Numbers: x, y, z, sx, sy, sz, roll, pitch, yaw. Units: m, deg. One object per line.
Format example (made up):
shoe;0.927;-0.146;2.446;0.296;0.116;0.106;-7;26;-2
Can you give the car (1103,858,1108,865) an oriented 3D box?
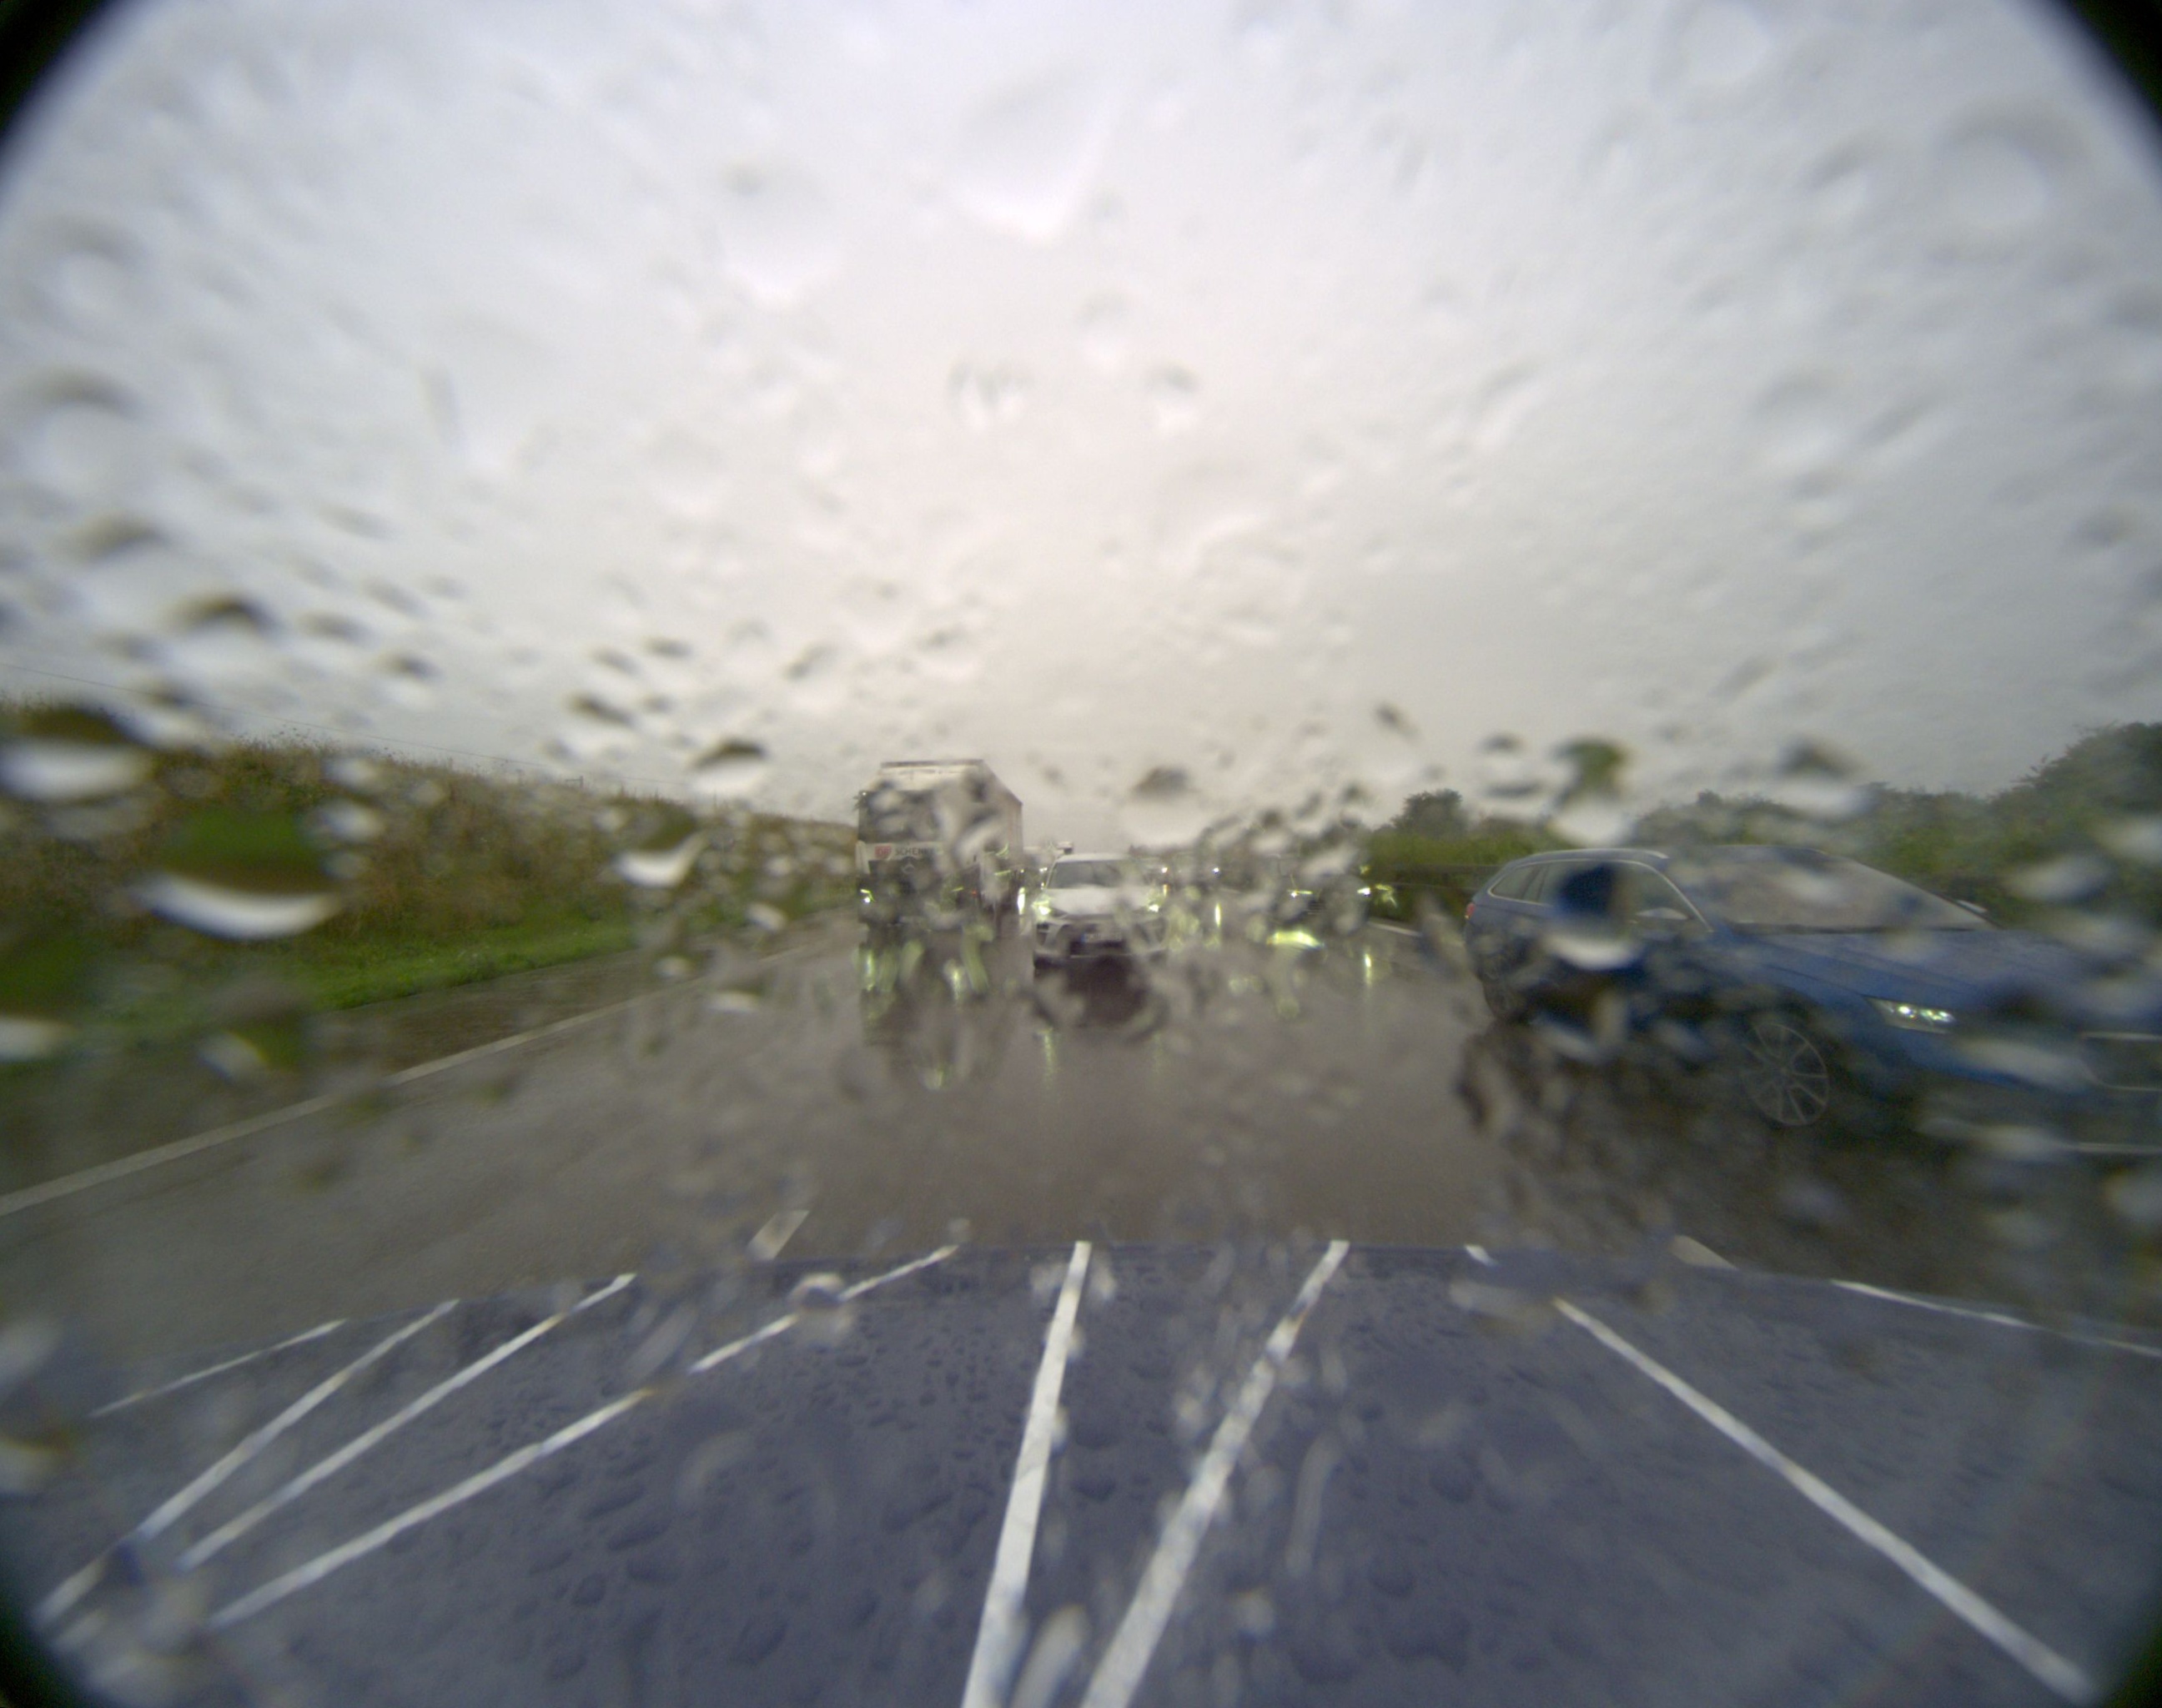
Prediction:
car;6.289;1.907;195.957;1.279;1.567;2.848;-2;0;0

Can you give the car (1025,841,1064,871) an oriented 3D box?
car;-2.573;0.120;54.115;2.260;2.002;4.269;-2;1;3

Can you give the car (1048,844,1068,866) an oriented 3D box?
car;-2.466;0.110;81.725;1.998;2.231;4.000;-2;0;0

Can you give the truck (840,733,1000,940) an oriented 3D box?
truck;-3.624;-0.388;18.364;2.633;4.229;5.042;-2;1;0

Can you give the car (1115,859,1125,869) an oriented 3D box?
car;5.996;1.523;118.213;1.458;1.540;2.804;0;2;1

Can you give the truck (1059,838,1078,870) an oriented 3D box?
truck;-1.806;0.010;111.683;2.628;4.635;4.290;-2;0;1

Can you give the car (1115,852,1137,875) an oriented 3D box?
car;4.203;0.851;71.445;1.737;2.002;4.223;-2;0;0

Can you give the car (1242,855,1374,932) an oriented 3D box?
car;4.856;0.766;16.898;1.613;1.428;4.370;-2;0;0

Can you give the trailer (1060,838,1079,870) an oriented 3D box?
trailer;-1.727;0.034;117.102;2.628;4.635;9.221;-2;0;1

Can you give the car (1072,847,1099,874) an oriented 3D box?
car;0.410;0.488;60.511;1.998;2.002;4.000;-2;0;1

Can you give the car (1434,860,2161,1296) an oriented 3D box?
car;4.263;0.825;4.978;1.791;1.467;4.511;-2;0;0

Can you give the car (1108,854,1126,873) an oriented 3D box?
car;3.967;1.006;83.134;1.737;2.002;4.223;-2;0;0

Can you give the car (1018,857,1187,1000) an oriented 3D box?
car;0.260;0.869;10.734;1.893;1.578;4.000;-2;0;0

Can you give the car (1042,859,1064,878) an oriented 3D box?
car;-2.745;1.406;76.026;1.998;1.805;4.000;-2;0;0

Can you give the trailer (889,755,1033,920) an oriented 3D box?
trailer;-3.576;-0.502;26.943;2.633;4.224;14.174;-2;1;0

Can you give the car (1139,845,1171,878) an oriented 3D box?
car;4.798;0.466;49.880;1.888;2.002;4.270;-2;0;3

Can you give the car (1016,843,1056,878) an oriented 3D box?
car;-2.744;0.377;47.465;1.946;2.002;4.446;-2;1;2

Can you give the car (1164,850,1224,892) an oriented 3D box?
car;4.701;0.656;32.217;1.889;1.622;4.269;-2;0;0
